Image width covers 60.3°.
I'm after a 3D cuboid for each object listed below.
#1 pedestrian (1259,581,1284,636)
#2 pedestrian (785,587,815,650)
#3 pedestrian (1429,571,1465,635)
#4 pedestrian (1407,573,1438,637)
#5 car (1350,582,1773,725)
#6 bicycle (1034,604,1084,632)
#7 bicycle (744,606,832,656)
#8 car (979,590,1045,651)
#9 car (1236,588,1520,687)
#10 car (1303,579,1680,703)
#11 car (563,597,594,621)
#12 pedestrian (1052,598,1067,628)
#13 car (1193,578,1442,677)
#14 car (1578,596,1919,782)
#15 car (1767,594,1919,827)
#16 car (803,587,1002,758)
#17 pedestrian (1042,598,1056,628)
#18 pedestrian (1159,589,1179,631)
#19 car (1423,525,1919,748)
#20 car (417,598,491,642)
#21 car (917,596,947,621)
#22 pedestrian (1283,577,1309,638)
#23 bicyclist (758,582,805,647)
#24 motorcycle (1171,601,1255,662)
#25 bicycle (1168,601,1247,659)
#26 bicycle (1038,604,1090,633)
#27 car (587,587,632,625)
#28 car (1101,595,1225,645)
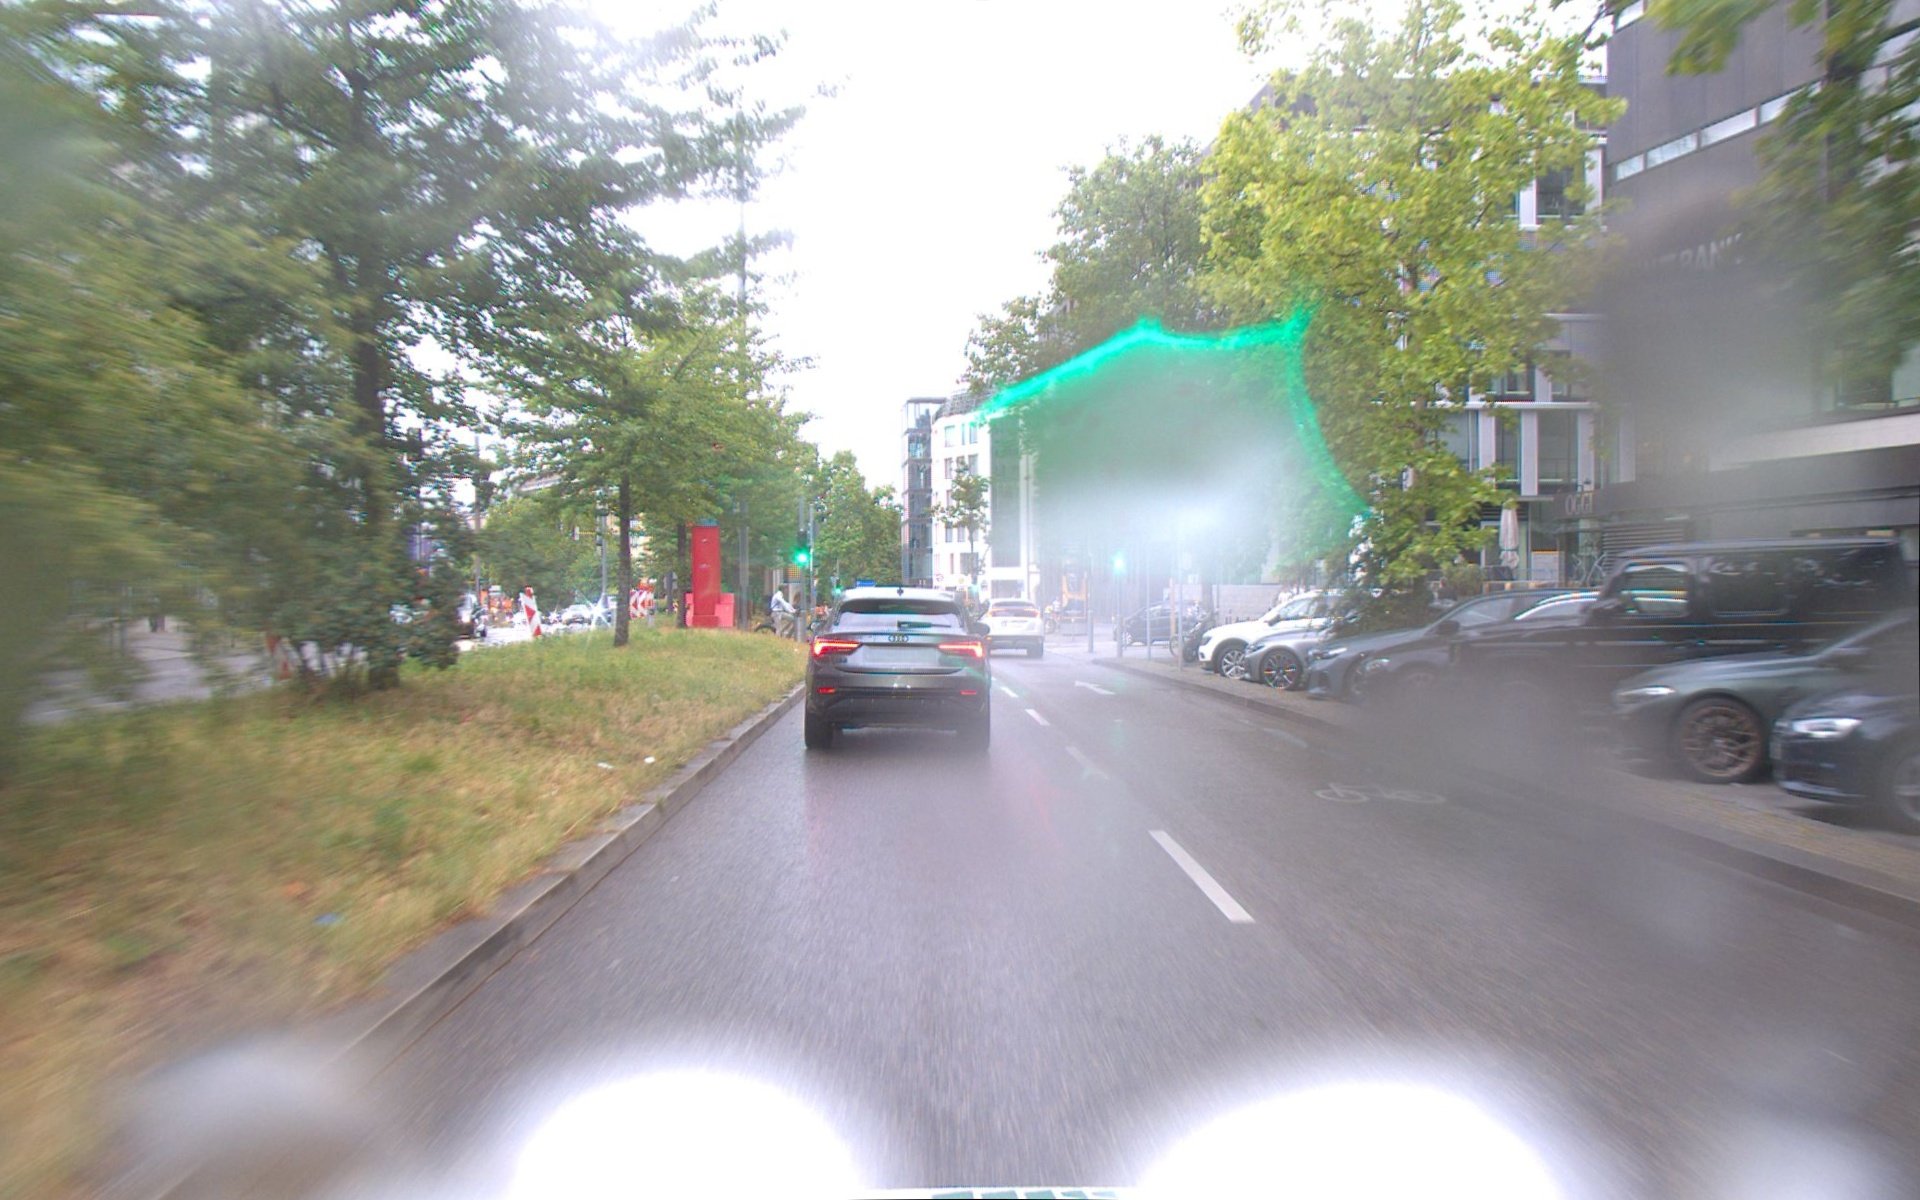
[{"bbox_3d":[11.244,0.306,59.696,0.848,1.937,0.886,1,-1,11],"label":"pedestrian"},{"bbox_3d":[-4.683,0.548,48.293,0.647,1.825,0.751,1,-1,12],"label":"pedestrian"},{"bbox_3d":[14.192,0.087,48.215,0.652,1.814,0.919,-4,-1,1],"label":"pedestrian"},{"bbox_3d":[13.527,0.151,48.429,0.626,1.814,0.771,-3,-1,4],"label":"pedestrian"},{"bbox_3d":[7.026,0.599,19.484,4.462,1.533,1.868,-1,0,24],"label":"car"},{"bbox_3d":[4.677,0.849,78.106,2.293,1.335,0.708,0,0,-8],"label":"bicycle"},{"bbox_3d":[-4.523,0.818,43.682,2.209,1.182,0.750,3,-1,-1],"label":"bicycle"},{"bbox_3d":[1.484,0.582,48.584,1.811,1.698,4.038,0,0,0],"label":"car"},{"bbox_3d":[6.863,0.606,27.227,4.212,1.515,1.840,-1,0,29],"label":"car"},{"bbox_3d":[7.092,0.547,22.483,4.673,1.561,1.871,-1,0,14],"label":"car"},{"bbox_3d":[-27.654,0.641,119.933,1.700,1.585,3.994,-2,1,-7],"label":"car"},{"bbox_3d":[6.725,0.875,111.574,0.838,2.049,0.975,1,-1,-6],"label":"pedestrian"},{"bbox_3d":[6.567,0.501,30.398,4.135,1.698,1.837,-1,0,27],"label":"car"},{"bbox_3d":[7.572,0.683,13.485,4.534,1.419,1.845,-1,-1,28],"label":"car"},{"bbox_3d":[7.554,0.692,10.575,4.279,1.461,1.760,0,0,26],"label":"car"},{"bbox_3d":[-0.549,0.652,17.173,1.812,1.550,4.038,0,0,-1],"label":"car"},{"bbox_3d":[6.052,0.880,112.717,0.838,2.049,0.975,1,-1,-6],"label":"pedestrian"},{"bbox_3d":[10.834,0.518,85.680,0.916,2.152,1.076,1,-1,11],"label":"pedestrian"},{"bbox_3d":[7.315,0.351,16.660,4.839,2.013,1.928,-1,0,26],"label":"car"},{"bbox_3d":[-17.000,0.650,55.700,1.772,1.333,3.992,-2,1,-9],"label":"car"},{"bbox_3d":[-1.752,0.535,104.191,1.811,1.550,4.038,0,0,0],"label":"car"},{"bbox_3d":[12.086,0.267,59.524,0.916,2.152,1.076,1,-1,11],"label":"pedestrian"},{"bbox_3d":[-4.705,0.379,43.688,1.082,1.650,0.750,3,-1,-1],"label":"bicyclist"},{"bbox_3d":[6.126,0.751,40.074,1.985,1.440,0.726,1,-1,8],"label":"motorcycle"},{"bbox_3d":[6.300,0.760,42.159,1.940,1.440,0.726,1,-1,8],"label":"bicycle"},{"bbox_3d":[4.790,0.852,76.192,2.293,1.335,0.708,0,0,-8],"label":"bicycle"},{"bbox_3d":[-18.457,0.291,87.243,1.956,1.858,3.994,-2,1,-7],"label":"car"},{"bbox_3d":[6.691,0.650,54.680,3.794,1.595,1.658,0,-1,42],"label":"car"}]
